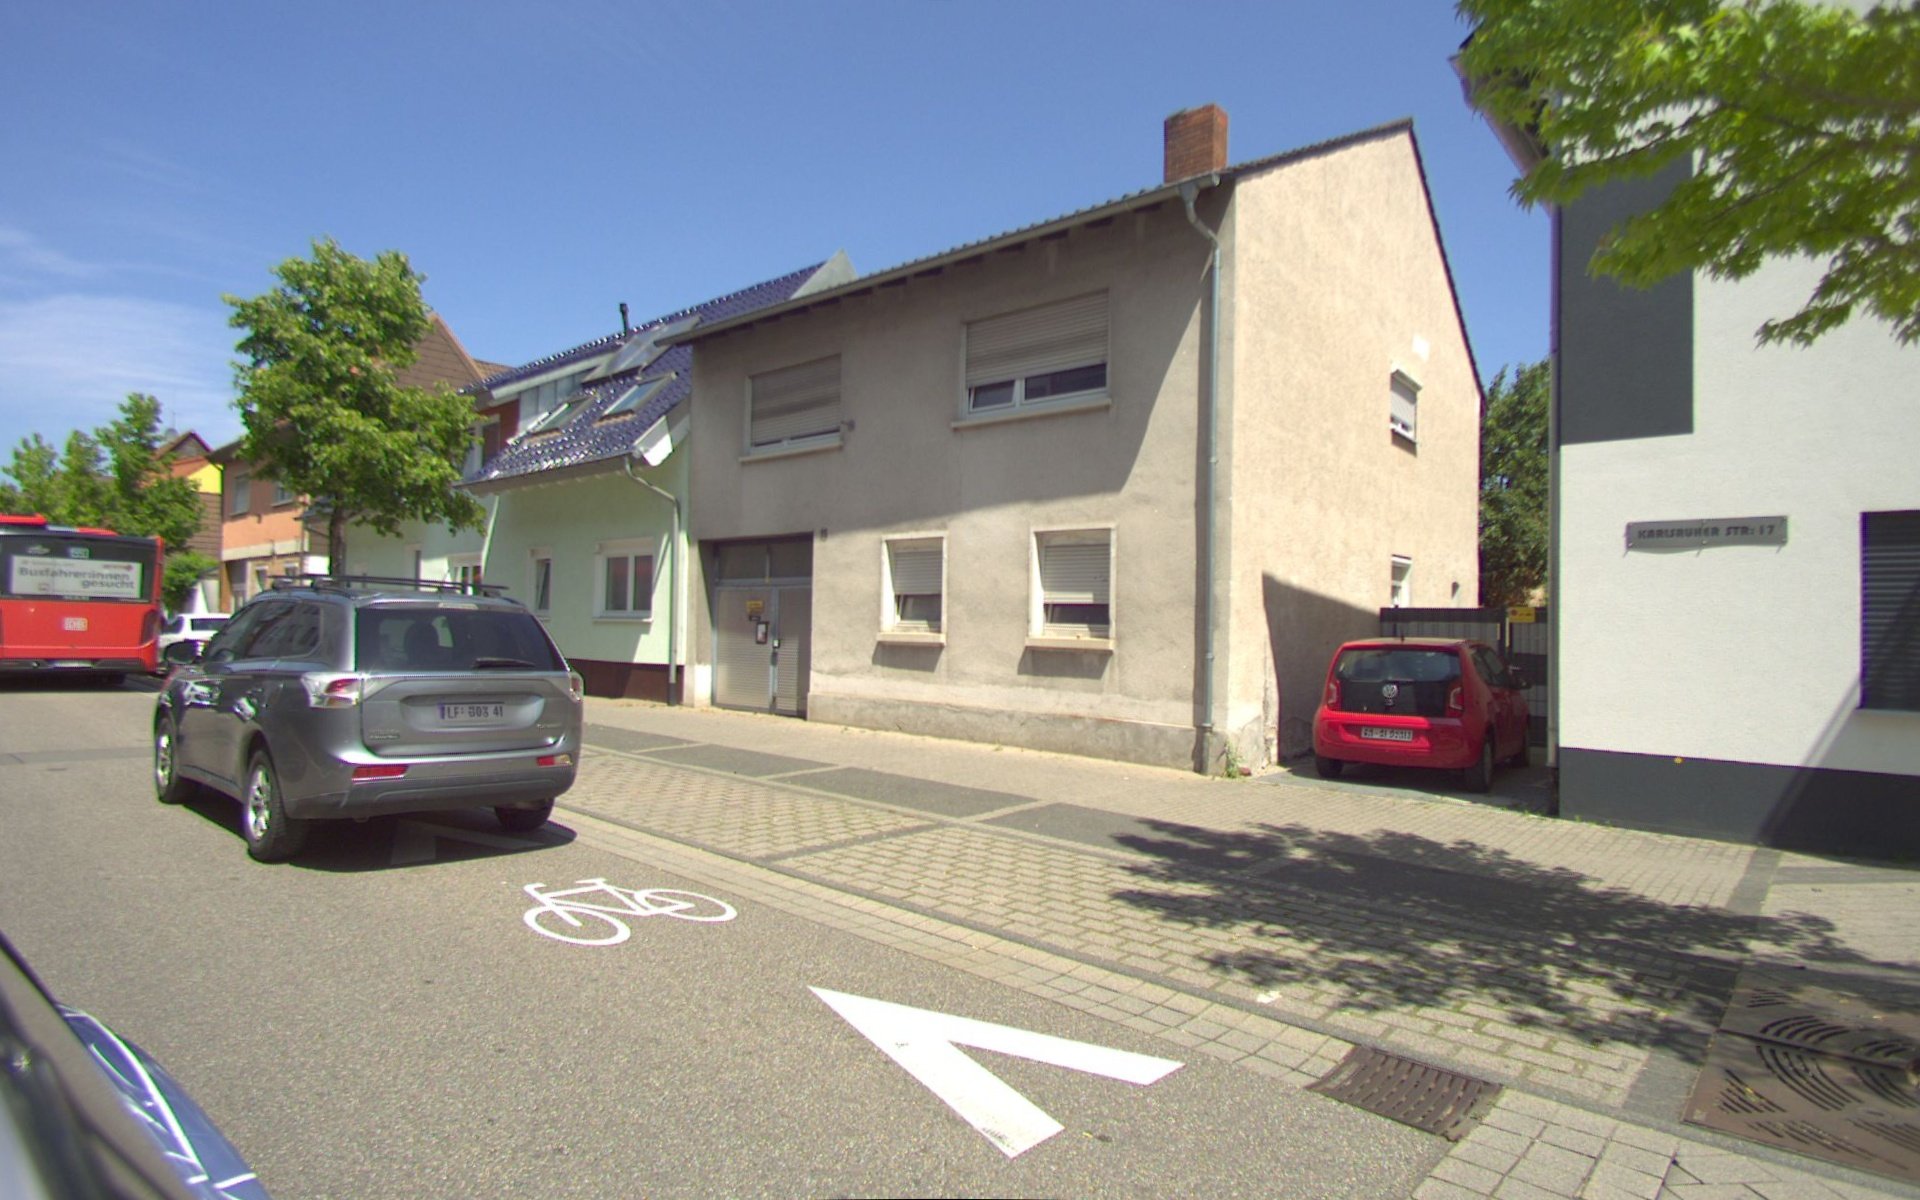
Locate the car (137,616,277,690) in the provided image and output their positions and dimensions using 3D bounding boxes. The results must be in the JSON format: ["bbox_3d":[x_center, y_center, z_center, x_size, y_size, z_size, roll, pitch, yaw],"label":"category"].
[{"bbox_3d":[-16.621,1.093,22.257,4.460,1.448,1.701,0,-2,43],"label":"car"}]

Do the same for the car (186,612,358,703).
[{"bbox_3d":[-12.697,0.977,18.560,4.539,1.448,1.642,0,-2,43],"label":"car"}]

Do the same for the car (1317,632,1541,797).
[{"bbox_3d":[5.110,1.100,10.833,1.584,1.454,3.085,0,-2,37],"label":"car"}]

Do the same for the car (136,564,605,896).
[{"bbox_3d":[-4.442,0.715,7.324,4.230,1.729,1.657,0,-2,41],"label":"car"}]

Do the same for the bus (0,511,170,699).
[{"bbox_3d":[-22.070,0.177,23.632,17.804,3.147,2.640,0,-4,43],"label":"bus"}]
